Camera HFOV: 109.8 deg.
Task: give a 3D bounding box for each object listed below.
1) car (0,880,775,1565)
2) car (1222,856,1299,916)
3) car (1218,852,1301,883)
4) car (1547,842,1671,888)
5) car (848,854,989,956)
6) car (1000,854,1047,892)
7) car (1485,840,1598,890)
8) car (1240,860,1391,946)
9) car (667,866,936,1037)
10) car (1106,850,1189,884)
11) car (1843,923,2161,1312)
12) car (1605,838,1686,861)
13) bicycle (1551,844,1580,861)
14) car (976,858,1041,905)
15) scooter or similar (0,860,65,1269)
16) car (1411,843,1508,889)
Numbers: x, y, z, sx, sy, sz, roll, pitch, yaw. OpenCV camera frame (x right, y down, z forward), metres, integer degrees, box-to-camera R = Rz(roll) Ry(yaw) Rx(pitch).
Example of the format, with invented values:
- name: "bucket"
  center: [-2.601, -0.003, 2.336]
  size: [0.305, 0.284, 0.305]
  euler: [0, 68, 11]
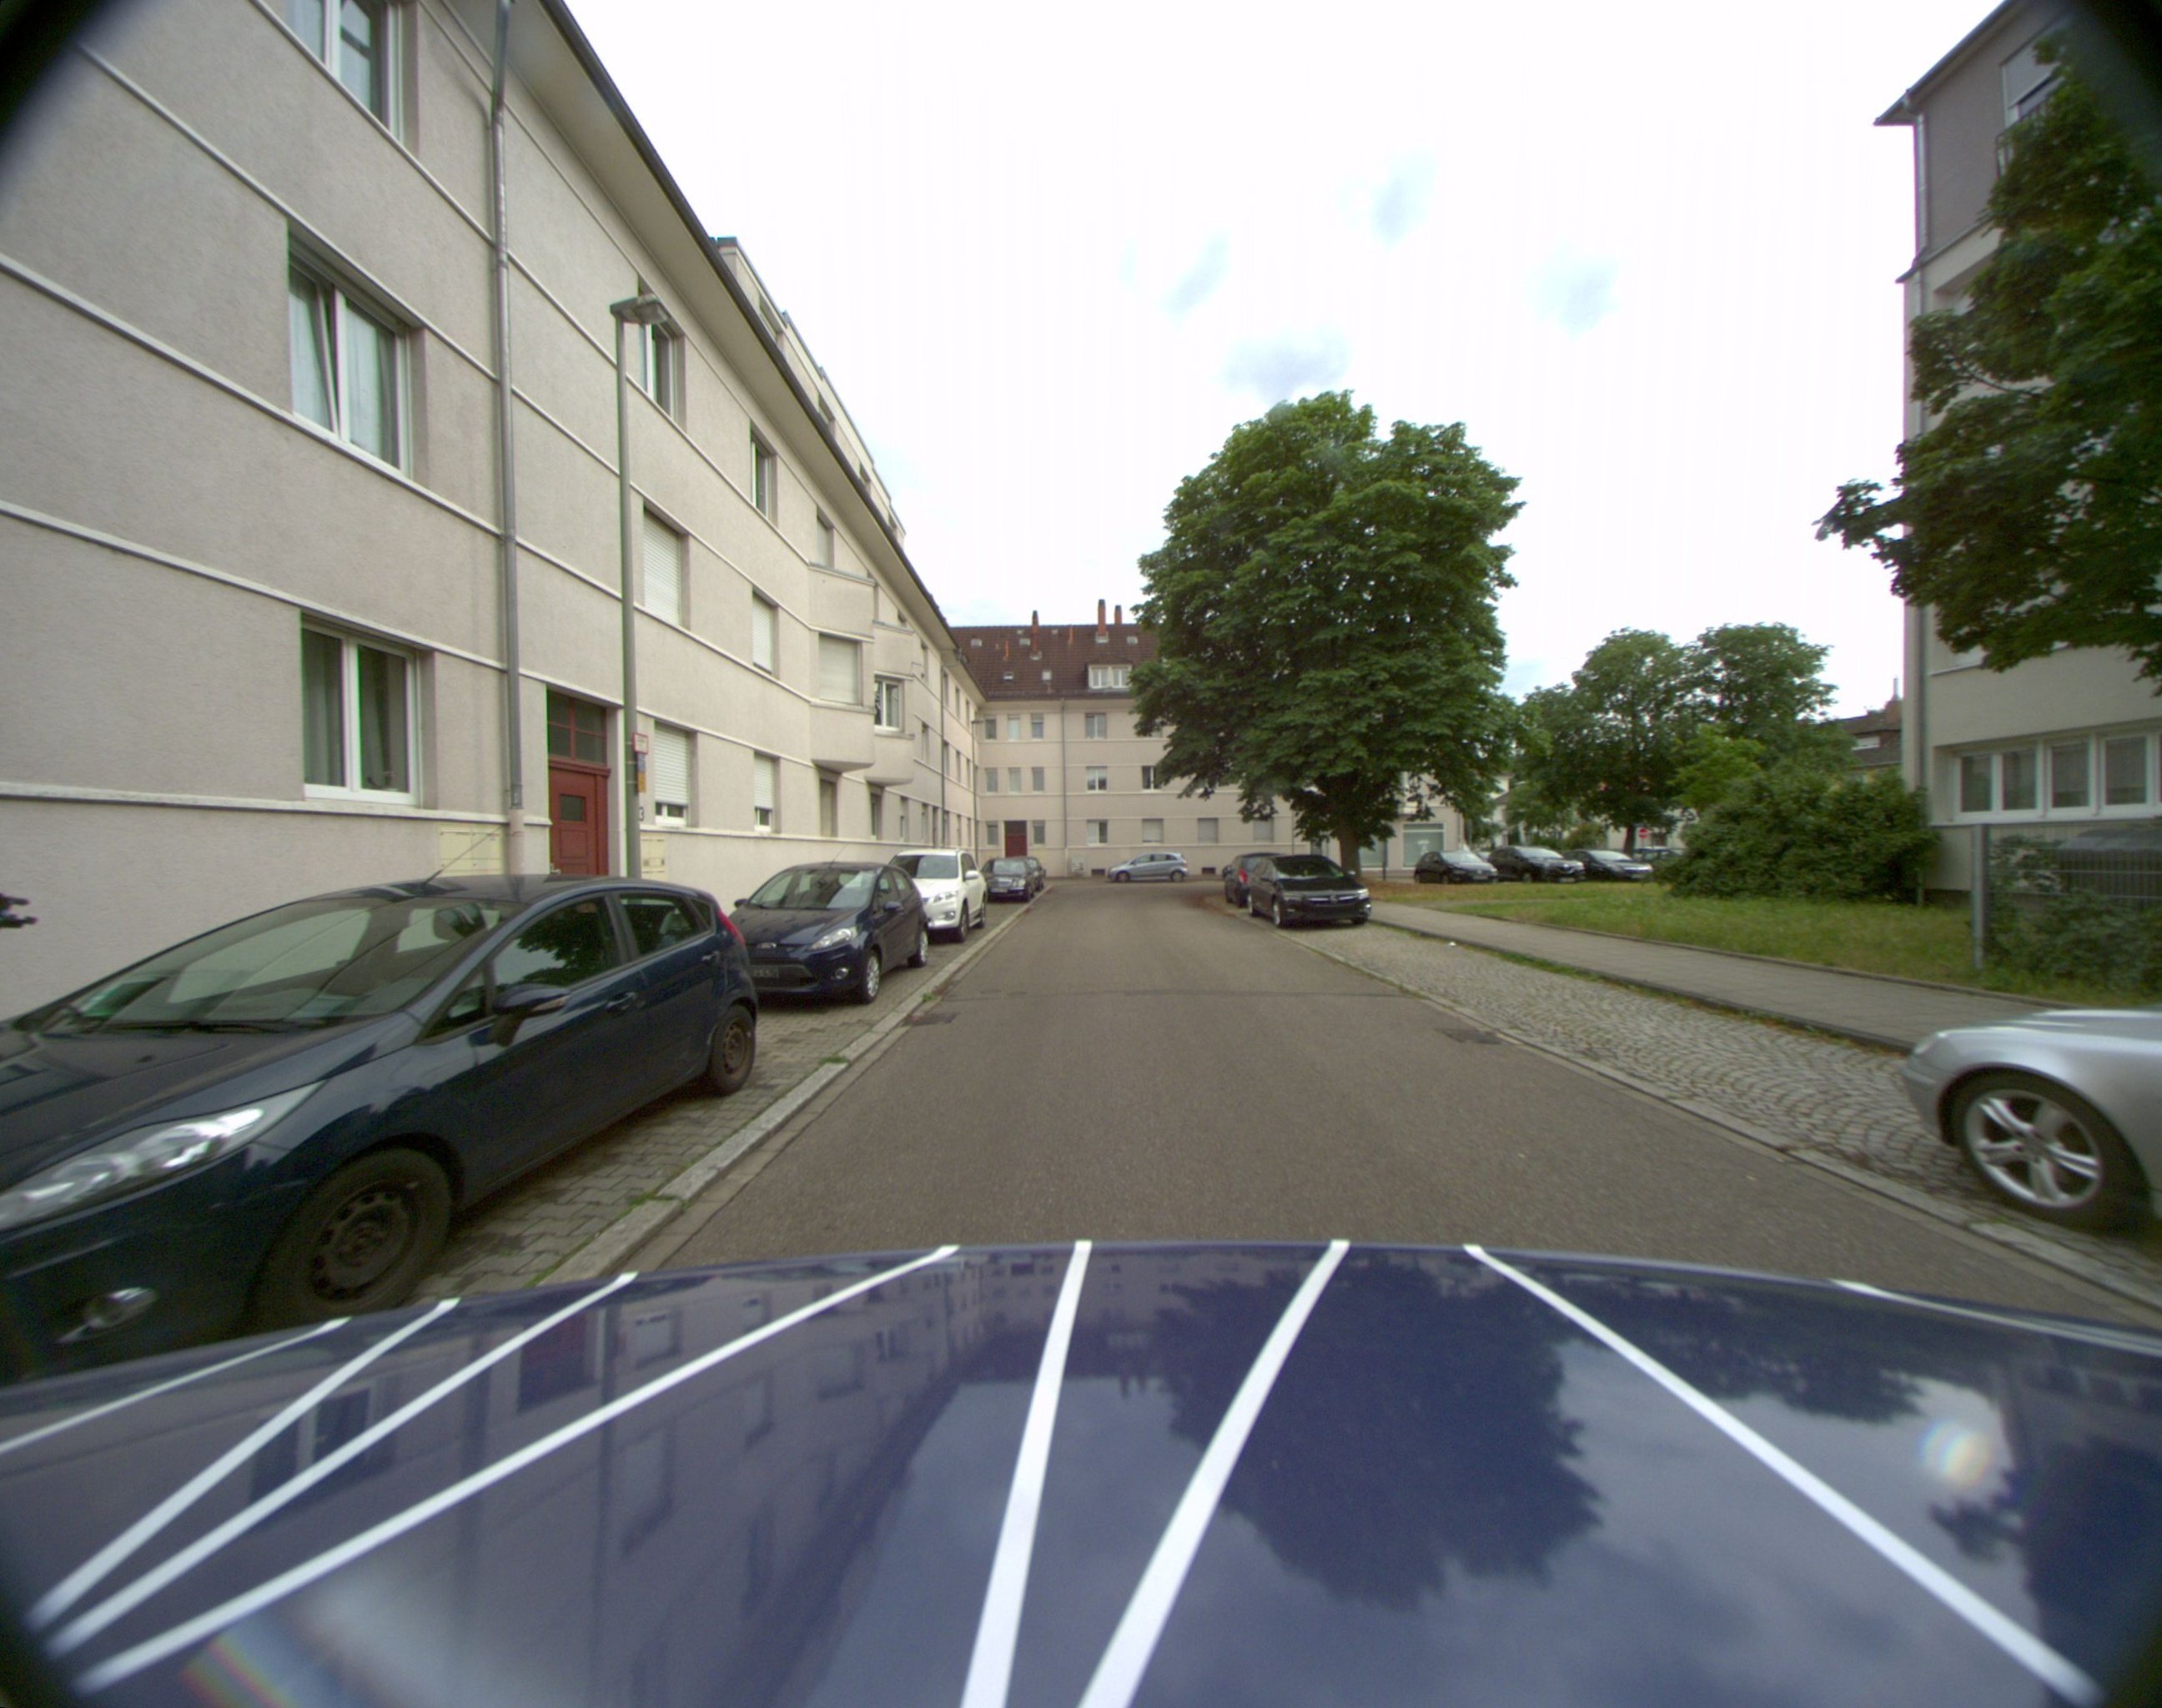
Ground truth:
- name: "car"
  center: [-3.062, 0.929, 3.645]
  size: [1.571, 1.465, 3.696]
  euler: [0, 0, 2]
- name: "car"
  center: [5.157, 0.862, 22.256]
  size: [1.528, 1.485, 3.592]
  euler: [-4, 0, 4]
- name: "car"
  center: [9.364, 0.706, 40.071]
  size: [3.933, 1.481, 1.762]
  euler: [-2, 0, 1]
- name: "car"
  center: [19.482, 0.410, 28.302]
  size: [1.839, 1.556, 4.359]
  euler: [-2, -1, 5]
- name: "car"
  center: [-2.924, 0.834, 14.613]
  size: [1.847, 1.664, 4.289]
  euler: [0, 0, -1]
- name: "car"
  center: [-2.419, 0.770, 32.803]
  size: [1.761, 1.516, 4.079]
  euler: [0, 0, 0]
- name: "car"
  center: [16.935, 0.413, 28.192]
  size: [1.914, 1.687, 4.070]
  euler: [-2, -1, 5]
- name: "car"
  center: [4.922, 0.948, 16.717]
  size: [1.872, 1.456, 4.834]
  euler: [-4, 0, 2]
- name: "car"
  center: [-2.916, 0.924, 8.855]
  size: [1.571, 1.470, 3.871]
  euler: [-1, 0, 2]
- name: "car"
  center: [3.482, 0.683, 39.943]
  size: [4.195, 1.618, 1.763]
  euler: [-2, 0, 3]
- name: "car"
  center: [4.790, 1.023, 1.920]
  size: [1.701, 1.251, 4.015]
  euler: [-3, 0, 1]
- name: "car"
  center: [40.303, -0.311, 54.448]
  size: [1.902, 1.557, 4.881]
  euler: [-1, 0, -4]
- name: "bicycle"
  center: [32.105, -0.112, 50.380]
  size: [0.667, 1.060, 1.884]
  euler: [-1, 0, -2]
- name: "car"
  center: [-2.360, 0.864, 25.843]
  size: [1.749, 1.412, 4.949]
  euler: [0, 0, 0]
- name: "scooter or similar"
  center: [-5.610, 1.054, 3.698]
  size: [0.345, 2.002, 0.680]
  euler: [-3, 1, 40]
- name: "car"
  center: [13.775, 0.400, 27.926]
  size: [1.829, 1.568, 3.843]
  euler: [-1, 0, 3]
